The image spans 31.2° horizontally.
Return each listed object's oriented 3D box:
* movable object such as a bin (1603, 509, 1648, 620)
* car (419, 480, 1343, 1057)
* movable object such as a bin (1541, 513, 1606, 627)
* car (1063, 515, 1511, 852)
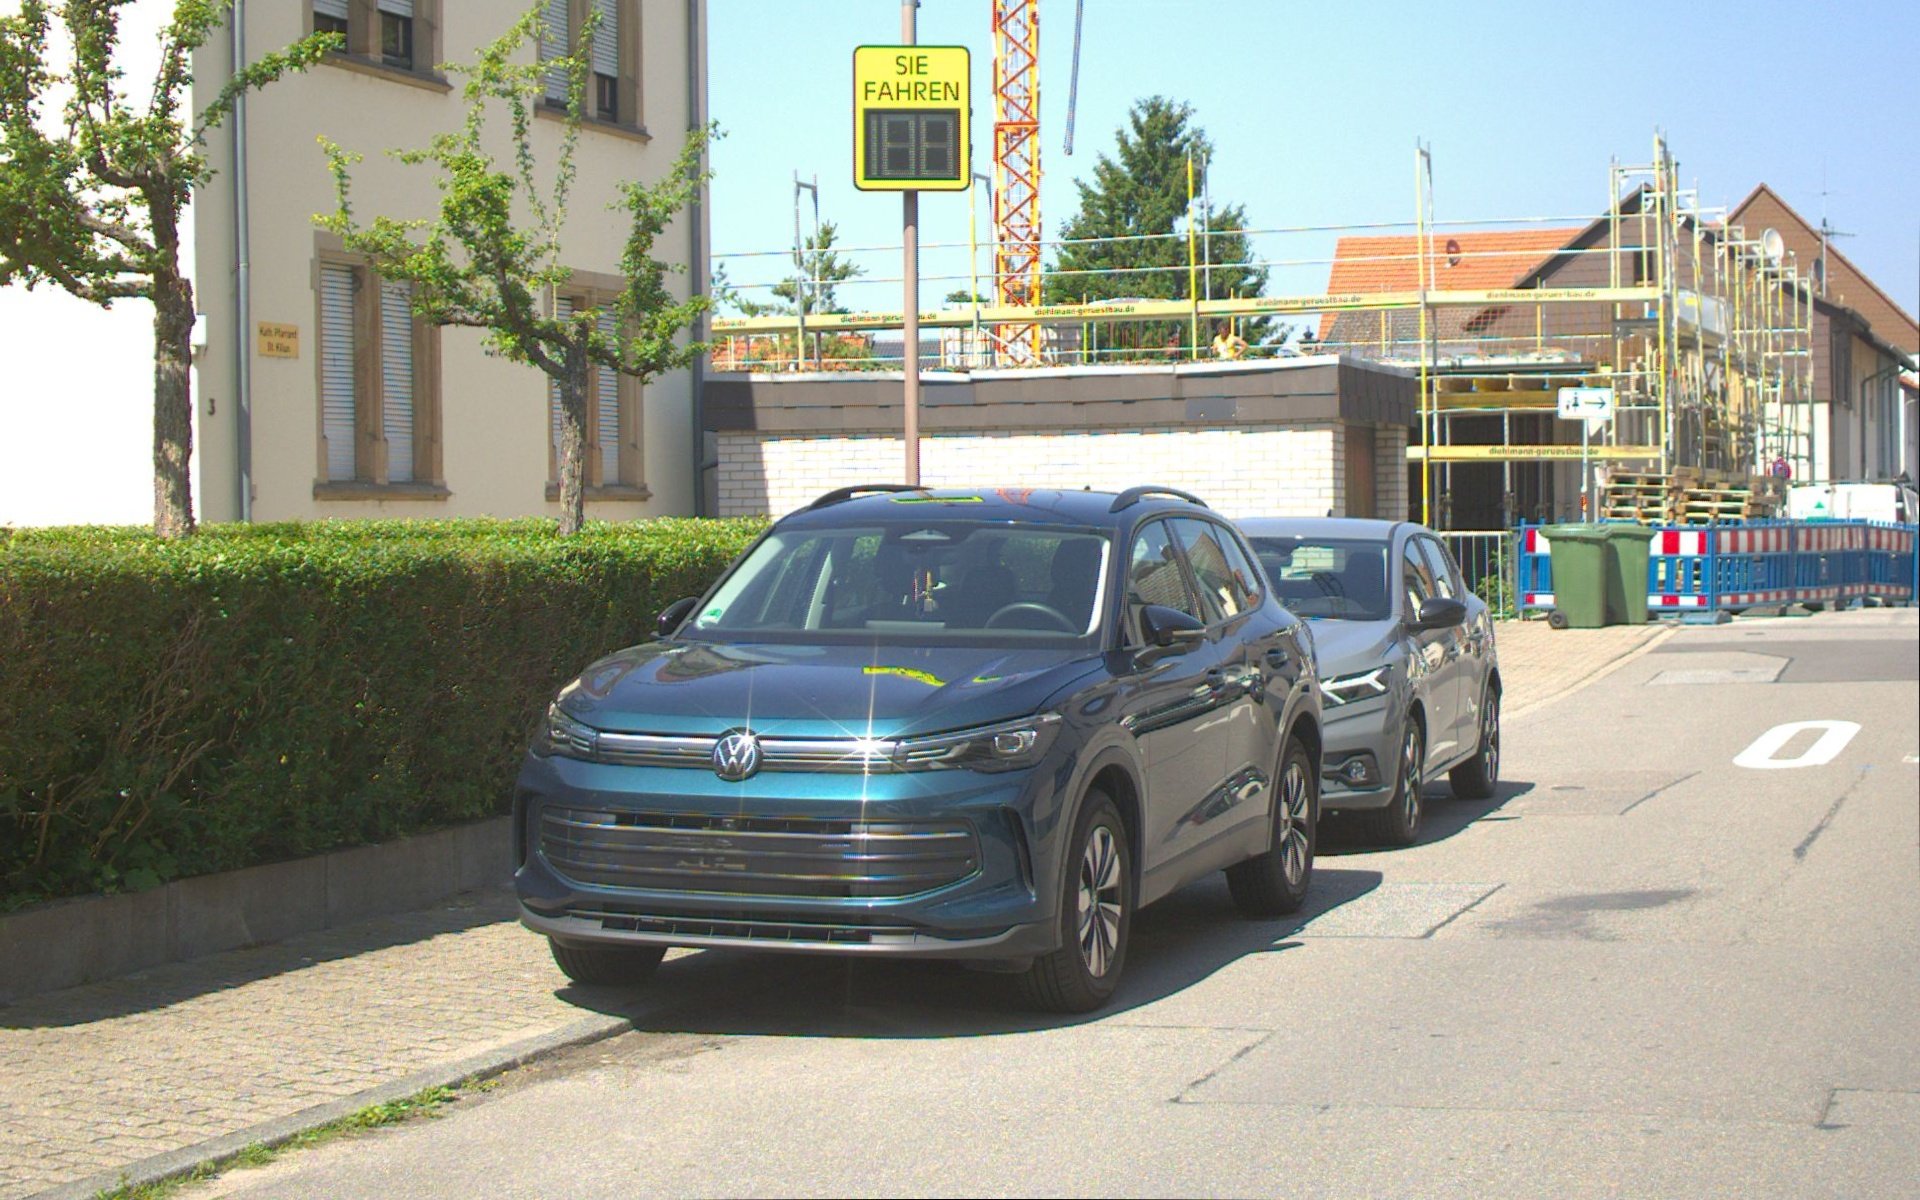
[{"bbox_3d":[6.996,-0.375,36.125,0.431,1.151,0.364,-1,2,9],"label":"movable object such as a bin"},{"bbox_3d":[-0.045,0.419,11.989,1.828,1.625,4.213,-1,2,19],"label":"car"},{"bbox_3d":[6.397,-0.314,35.829,0.622,1.151,0.677,-1,2,12],"label":"movable object such as a bin"},{"bbox_3d":[1.733,0.337,17.132,1.437,1.469,3.783,-1,1,17],"label":"car"}]
